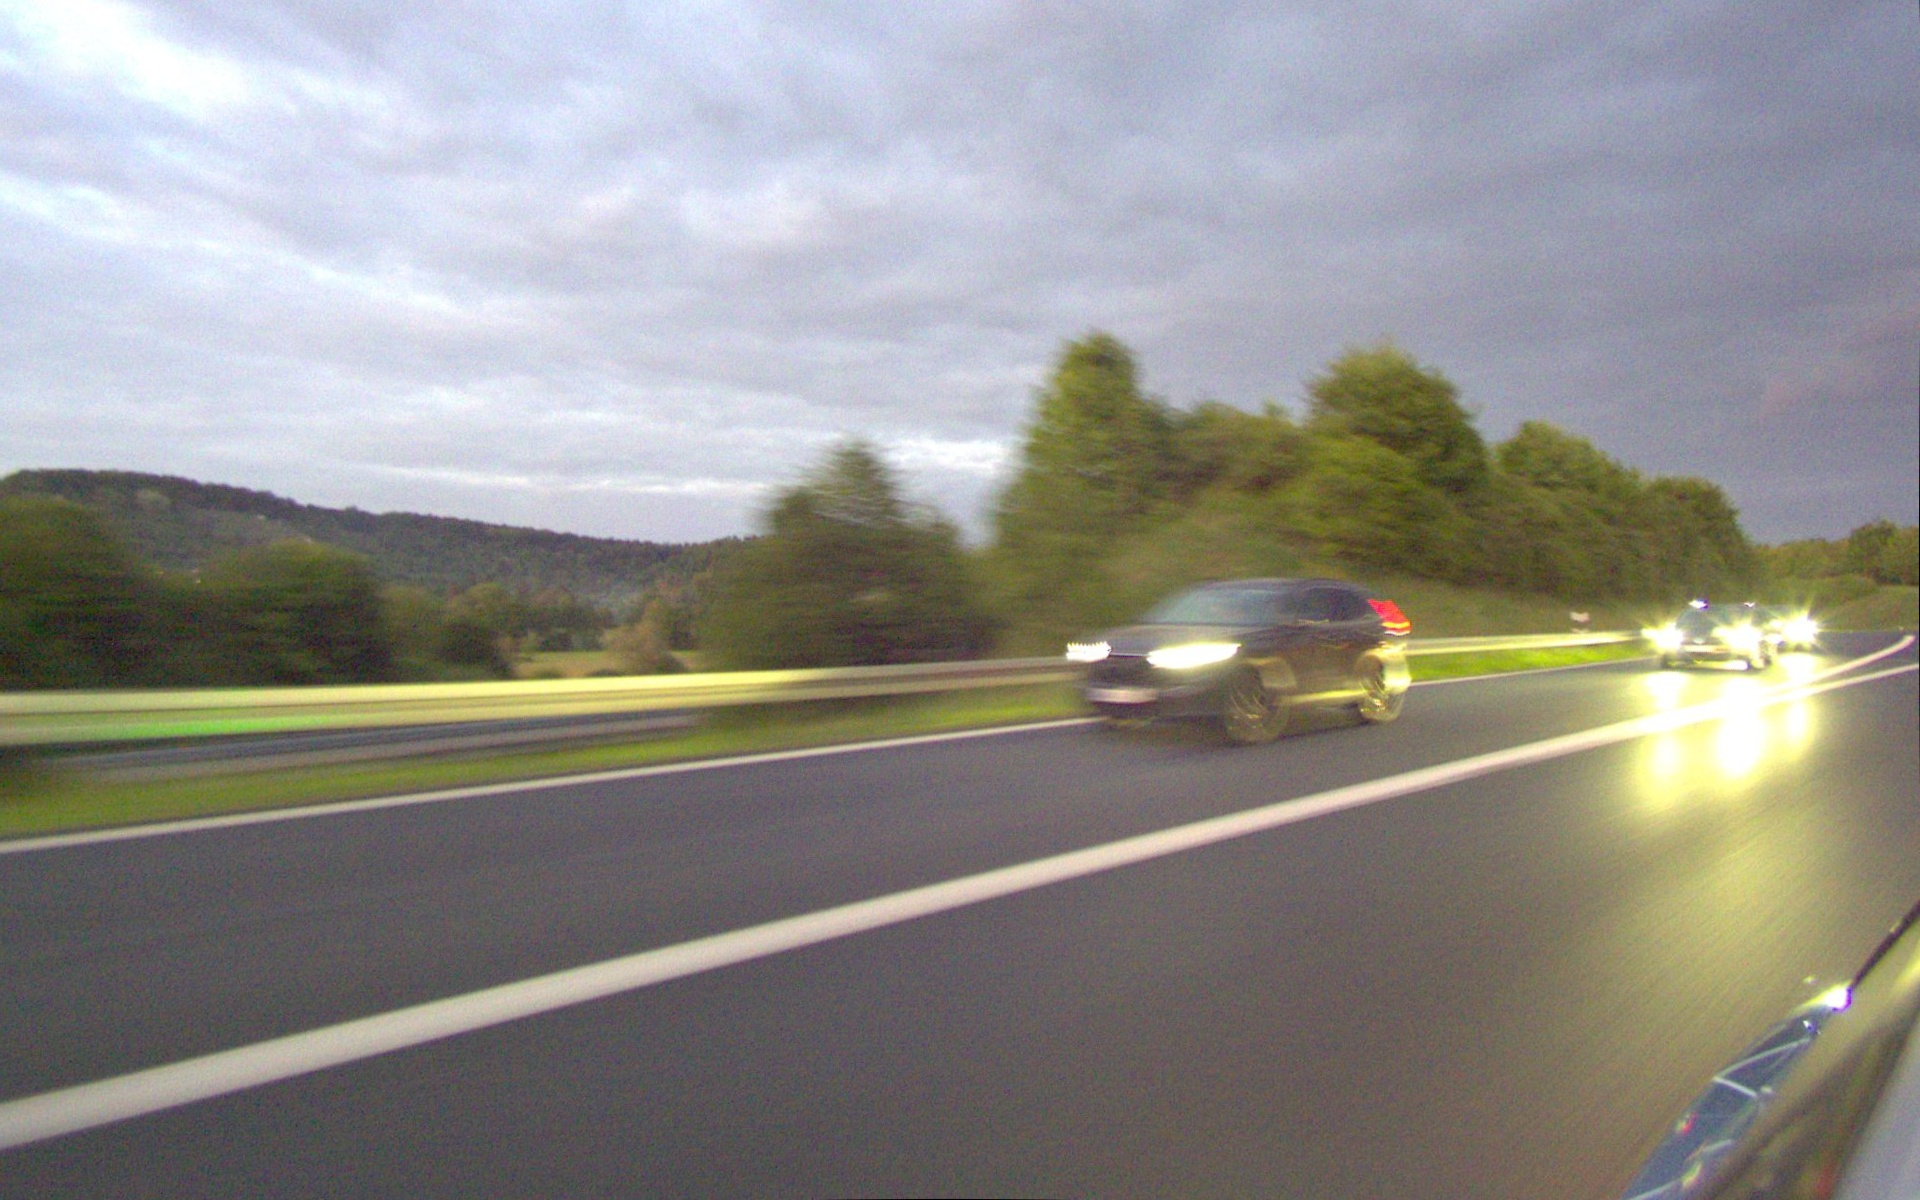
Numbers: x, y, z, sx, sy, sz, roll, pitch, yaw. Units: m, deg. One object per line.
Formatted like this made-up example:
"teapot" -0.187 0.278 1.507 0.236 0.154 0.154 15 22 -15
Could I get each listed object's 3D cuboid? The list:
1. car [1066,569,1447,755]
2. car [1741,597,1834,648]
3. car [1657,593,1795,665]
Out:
"car" 3.553 0.527 11.459 5.073 1.666 1.800 0 1 -43
"car" 26.907 0.699 32.857 4.363 1.511 1.798 0 -3 -45
"car" 18.011 0.644 23.696 5.033 1.511 1.798 0 -3 -45
